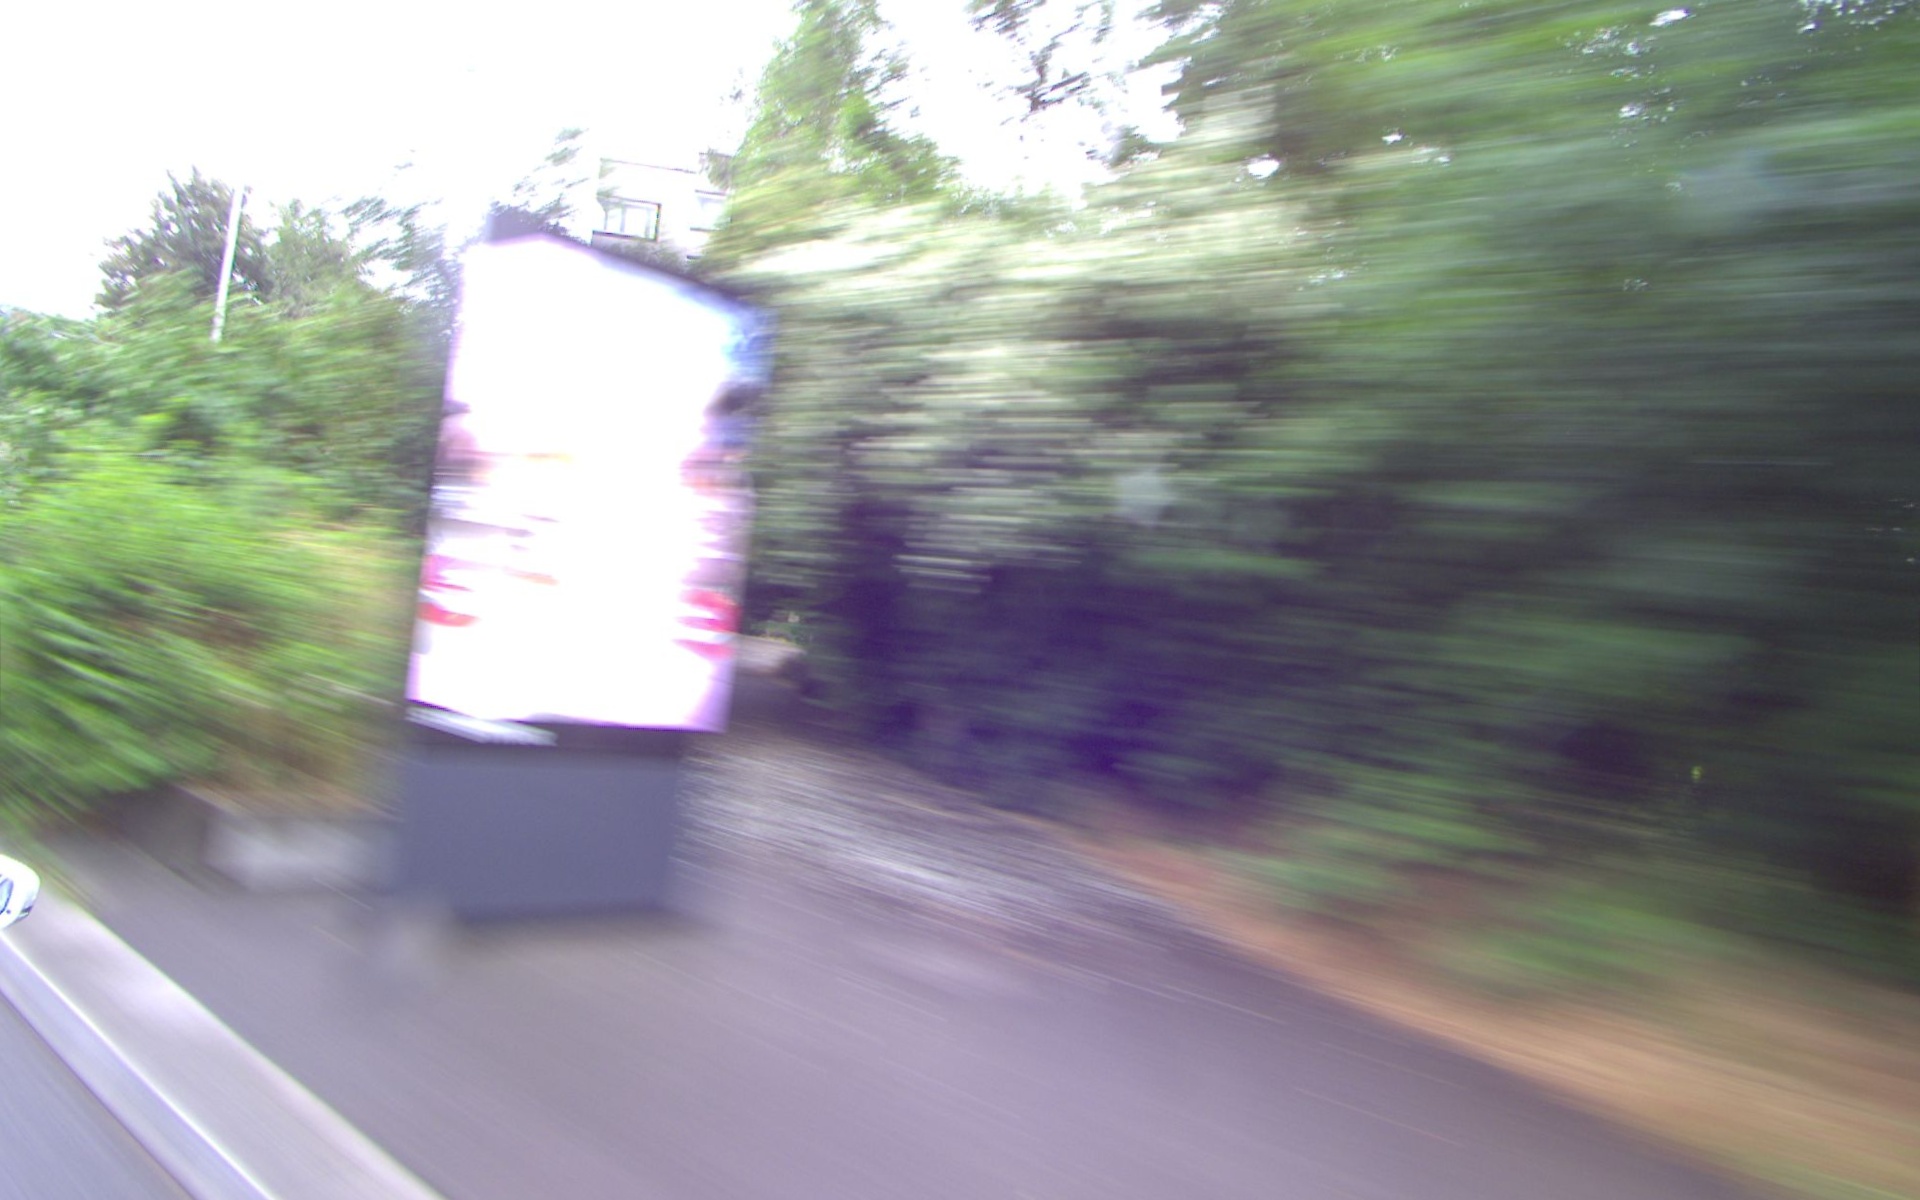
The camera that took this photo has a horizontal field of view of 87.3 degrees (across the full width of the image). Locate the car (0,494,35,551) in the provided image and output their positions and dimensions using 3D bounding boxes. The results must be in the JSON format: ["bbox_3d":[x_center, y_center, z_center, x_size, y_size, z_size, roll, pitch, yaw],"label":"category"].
[{"bbox_3d":[-27.030,-2.221,27.804,1.952,1.443,4.079,8,-3,-41],"label":"car"}]

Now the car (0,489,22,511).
[{"bbox_3d":[-77.127,-8.033,80.576,1.818,1.482,4.143,7,3,-29],"label":"car"}]

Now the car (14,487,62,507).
[{"bbox_3d":[-81.768,-9.161,89.284,1.815,1.450,4.042,7,3,-24],"label":"car"}]

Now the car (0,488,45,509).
[{"bbox_3d":[-79.584,-8.634,85.326,1.817,1.450,4.039,7,3,-27],"label":"car"}]

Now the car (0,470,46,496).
[{"bbox_3d":[-99.805,-12.389,106.305,4.390,2.029,1.983,8,-2,-34],"label":"car"}]
